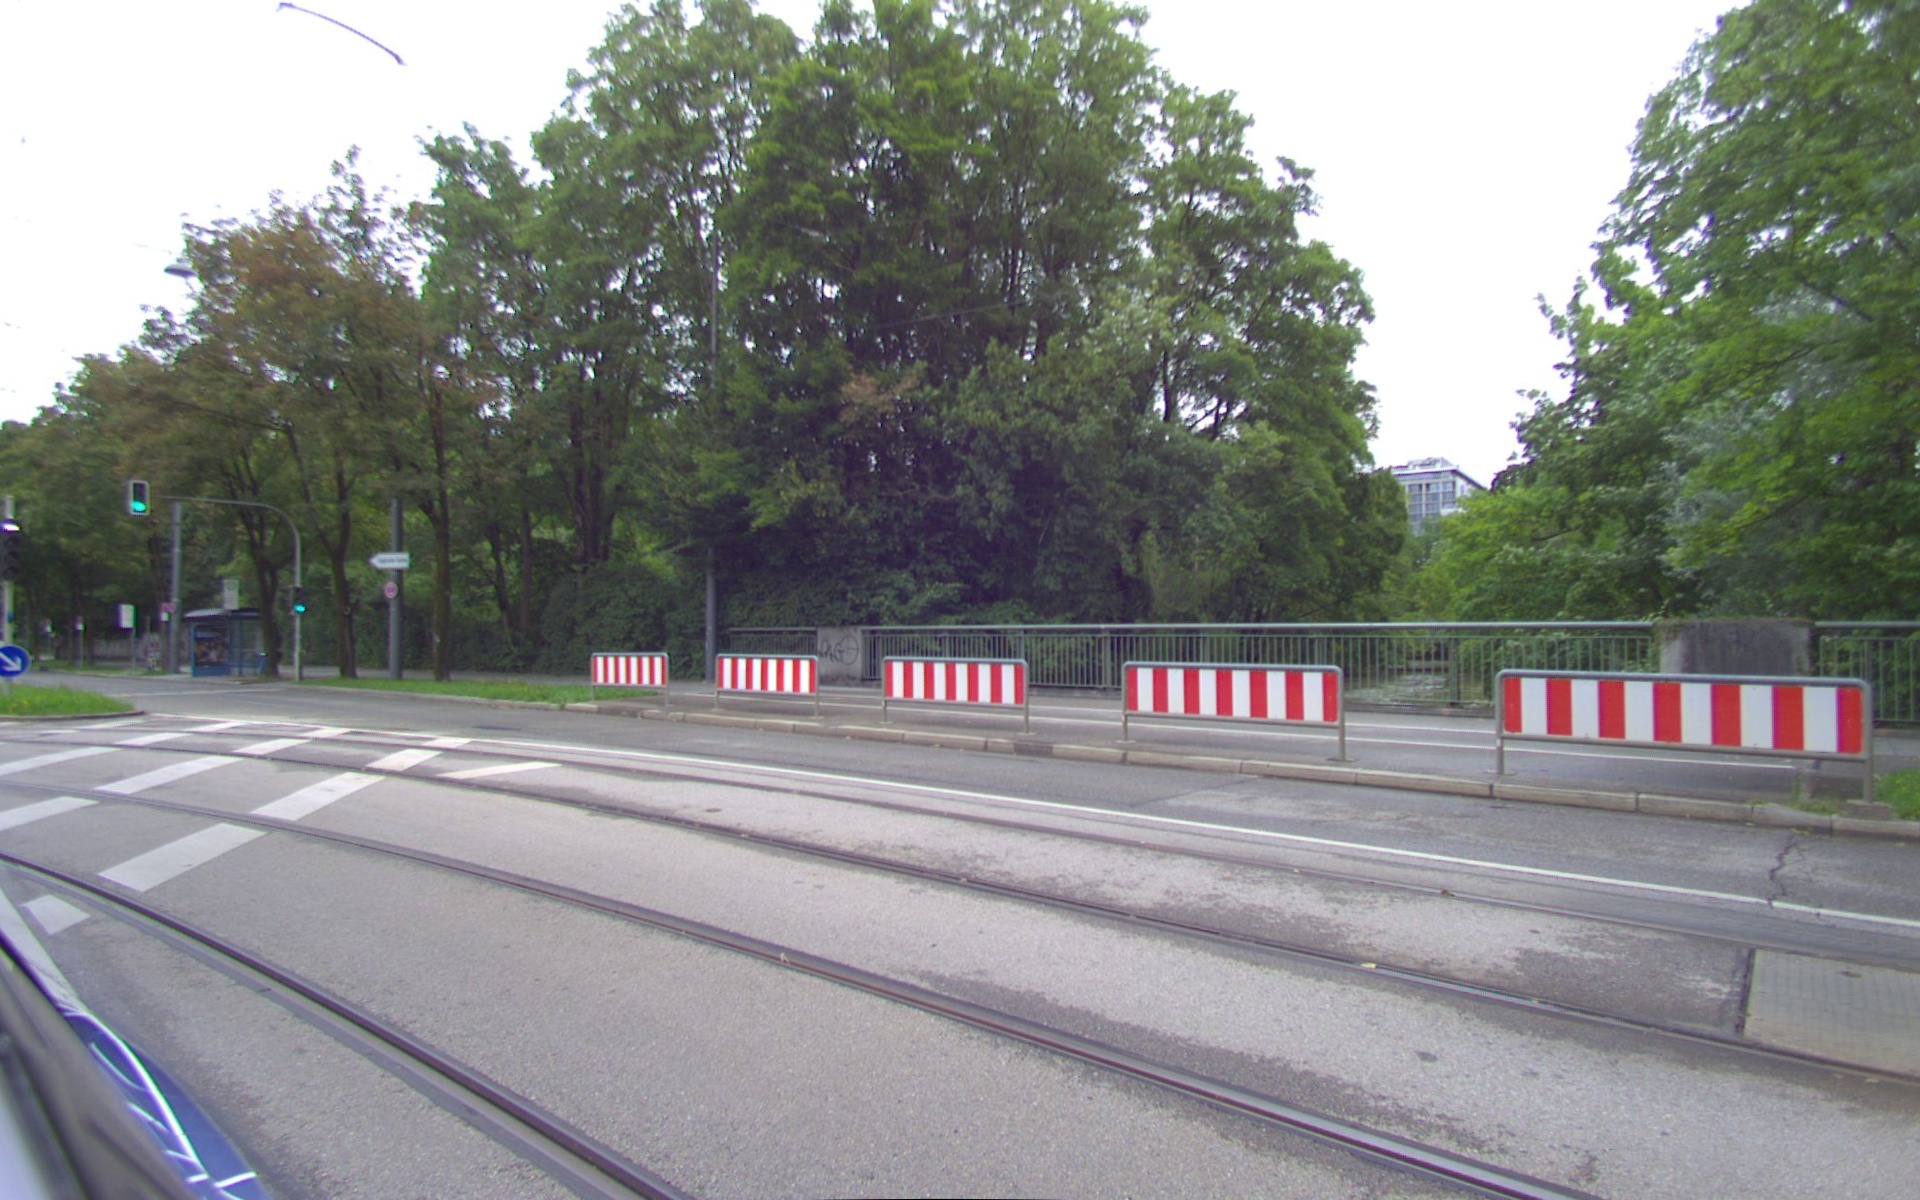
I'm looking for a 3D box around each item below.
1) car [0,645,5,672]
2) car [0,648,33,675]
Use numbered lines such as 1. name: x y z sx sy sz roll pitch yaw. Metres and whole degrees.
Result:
1. car: -64.722 3.907 66.846 3.996 1.739 1.864 -1 0 40
2. car: -60.215 3.884 63.921 3.996 1.552 1.864 -1 0 40
